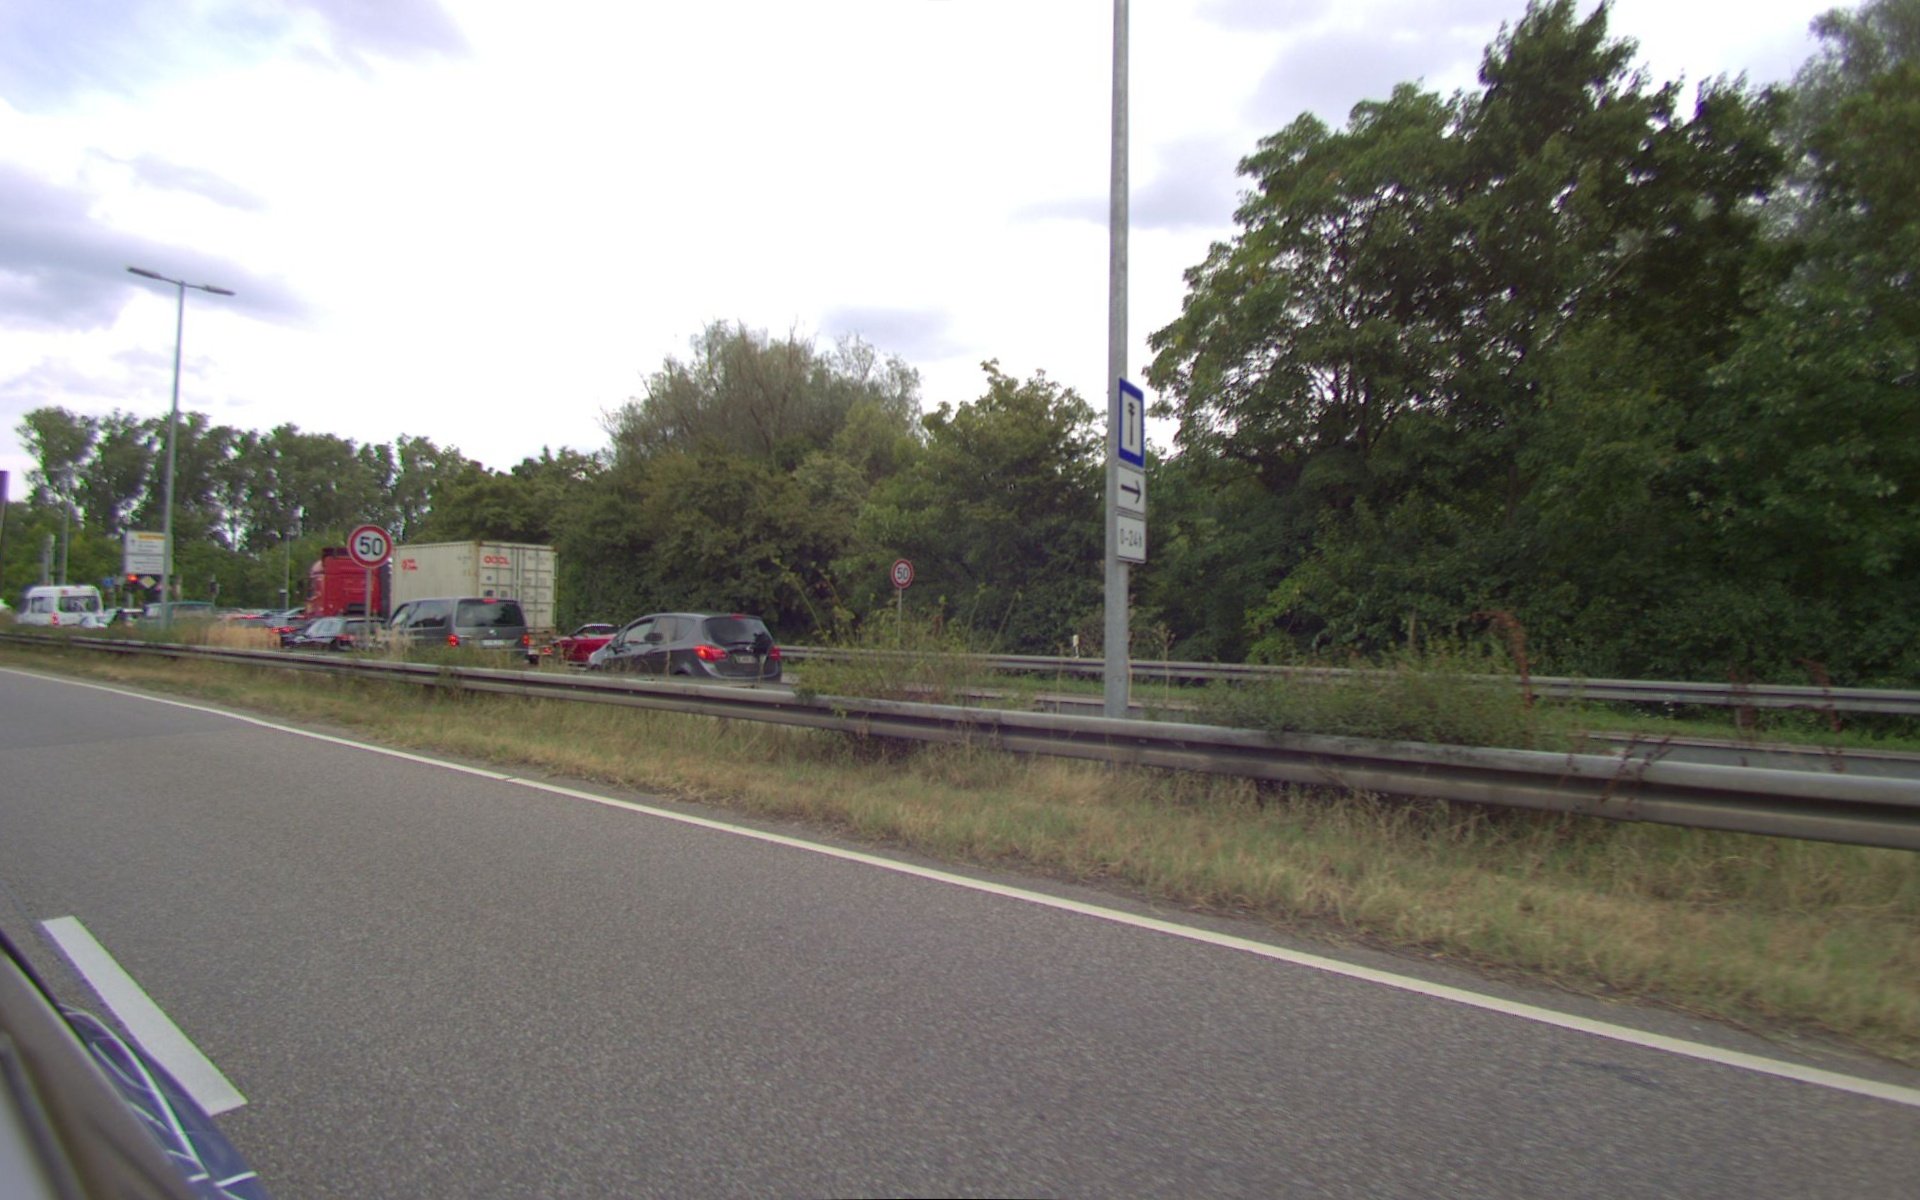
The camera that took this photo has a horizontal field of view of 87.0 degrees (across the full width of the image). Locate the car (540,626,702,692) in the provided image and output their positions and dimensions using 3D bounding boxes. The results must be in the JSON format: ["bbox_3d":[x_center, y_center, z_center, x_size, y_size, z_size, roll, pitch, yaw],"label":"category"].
[{"bbox_3d":[-7.866,1.295,23.334,3.999,1.298,1.800,0,-1,41],"label":"car"}]

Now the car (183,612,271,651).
[{"bbox_3d":[-32.533,1.357,44.889,3.991,1.626,1.976,0,-1,35],"label":"car"}]

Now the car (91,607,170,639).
[{"bbox_3d":[-43.757,1.185,53.348,4.526,1.558,1.977,0,-1,34],"label":"car"}]

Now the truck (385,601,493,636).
[{"bbox_3d":[-49.950,1.774,97.313,2.958,3.159,9.188,0,-1,28],"label":"truck"}]

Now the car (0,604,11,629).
[{"bbox_3d":[-70.335,1.156,71.885,4.192,1.796,1.930,1,-1,-42],"label":"car"}]

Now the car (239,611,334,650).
[{"bbox_3d":[-27.667,1.212,41.544,4.268,1.477,1.789,0,-1,35],"label":"car"}]

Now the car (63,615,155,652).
[{"bbox_3d":[-37.738,1.437,44.858,4.388,1.510,1.977,0,-1,34],"label":"car"}]

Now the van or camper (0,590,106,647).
[{"bbox_3d":[-44.178,0.847,49.264,6.475,2.608,2.143,0,-1,32],"label":"van or camper"}]

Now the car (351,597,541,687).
[{"bbox_3d":[-12.030,0.881,23.507,5.273,1.877,1.989,0,-1,40],"label":"car"}]

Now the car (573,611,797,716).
[{"bbox_3d":[-4.704,0.971,17.057,3.938,1.517,1.749,0,-1,41],"label":"car"}]

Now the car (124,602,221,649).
[{"bbox_3d":[-31.353,0.975,40.245,4.952,1.742,1.787,0,-1,37],"label":"car"}]

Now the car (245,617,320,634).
[{"bbox_3d":[-53.335,1.991,79.721,1.991,1.320,4.529,0,-1,29],"label":"car"}]

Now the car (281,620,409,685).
[{"bbox_3d":[-17.899,1.454,29.388,4.330,1.679,1.822,0,-1,39],"label":"car"}]

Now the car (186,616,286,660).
[{"bbox_3d":[-25.867,1.308,36.122,4.120,1.443,1.787,0,-1,38],"label":"car"}]

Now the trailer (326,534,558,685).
[{"bbox_3d":[-16.883,0.268,32.435,10.761,4.178,2.510,0,-1,39],"label":"trailer"}]

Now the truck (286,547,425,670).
[{"bbox_3d":[-21.902,0.288,36.575,5.618,4.114,2.542,0,-1,40],"label":"truck"}]

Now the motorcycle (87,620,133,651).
[{"bbox_3d":[-35.368,1.454,42.112,2.319,1.234,0.793,0,-1,33],"label":"motorcycle"}]

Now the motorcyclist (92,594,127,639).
[{"bbox_3d":[-35.342,0.695,42.068,0.922,1.837,0.858,0,-1,33],"label":"motorcyclist"}]

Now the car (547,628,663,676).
[{"bbox_3d":[-11.227,1.593,31.885,4.159,1.342,1.606,0,-1,41],"label":"car"}]
